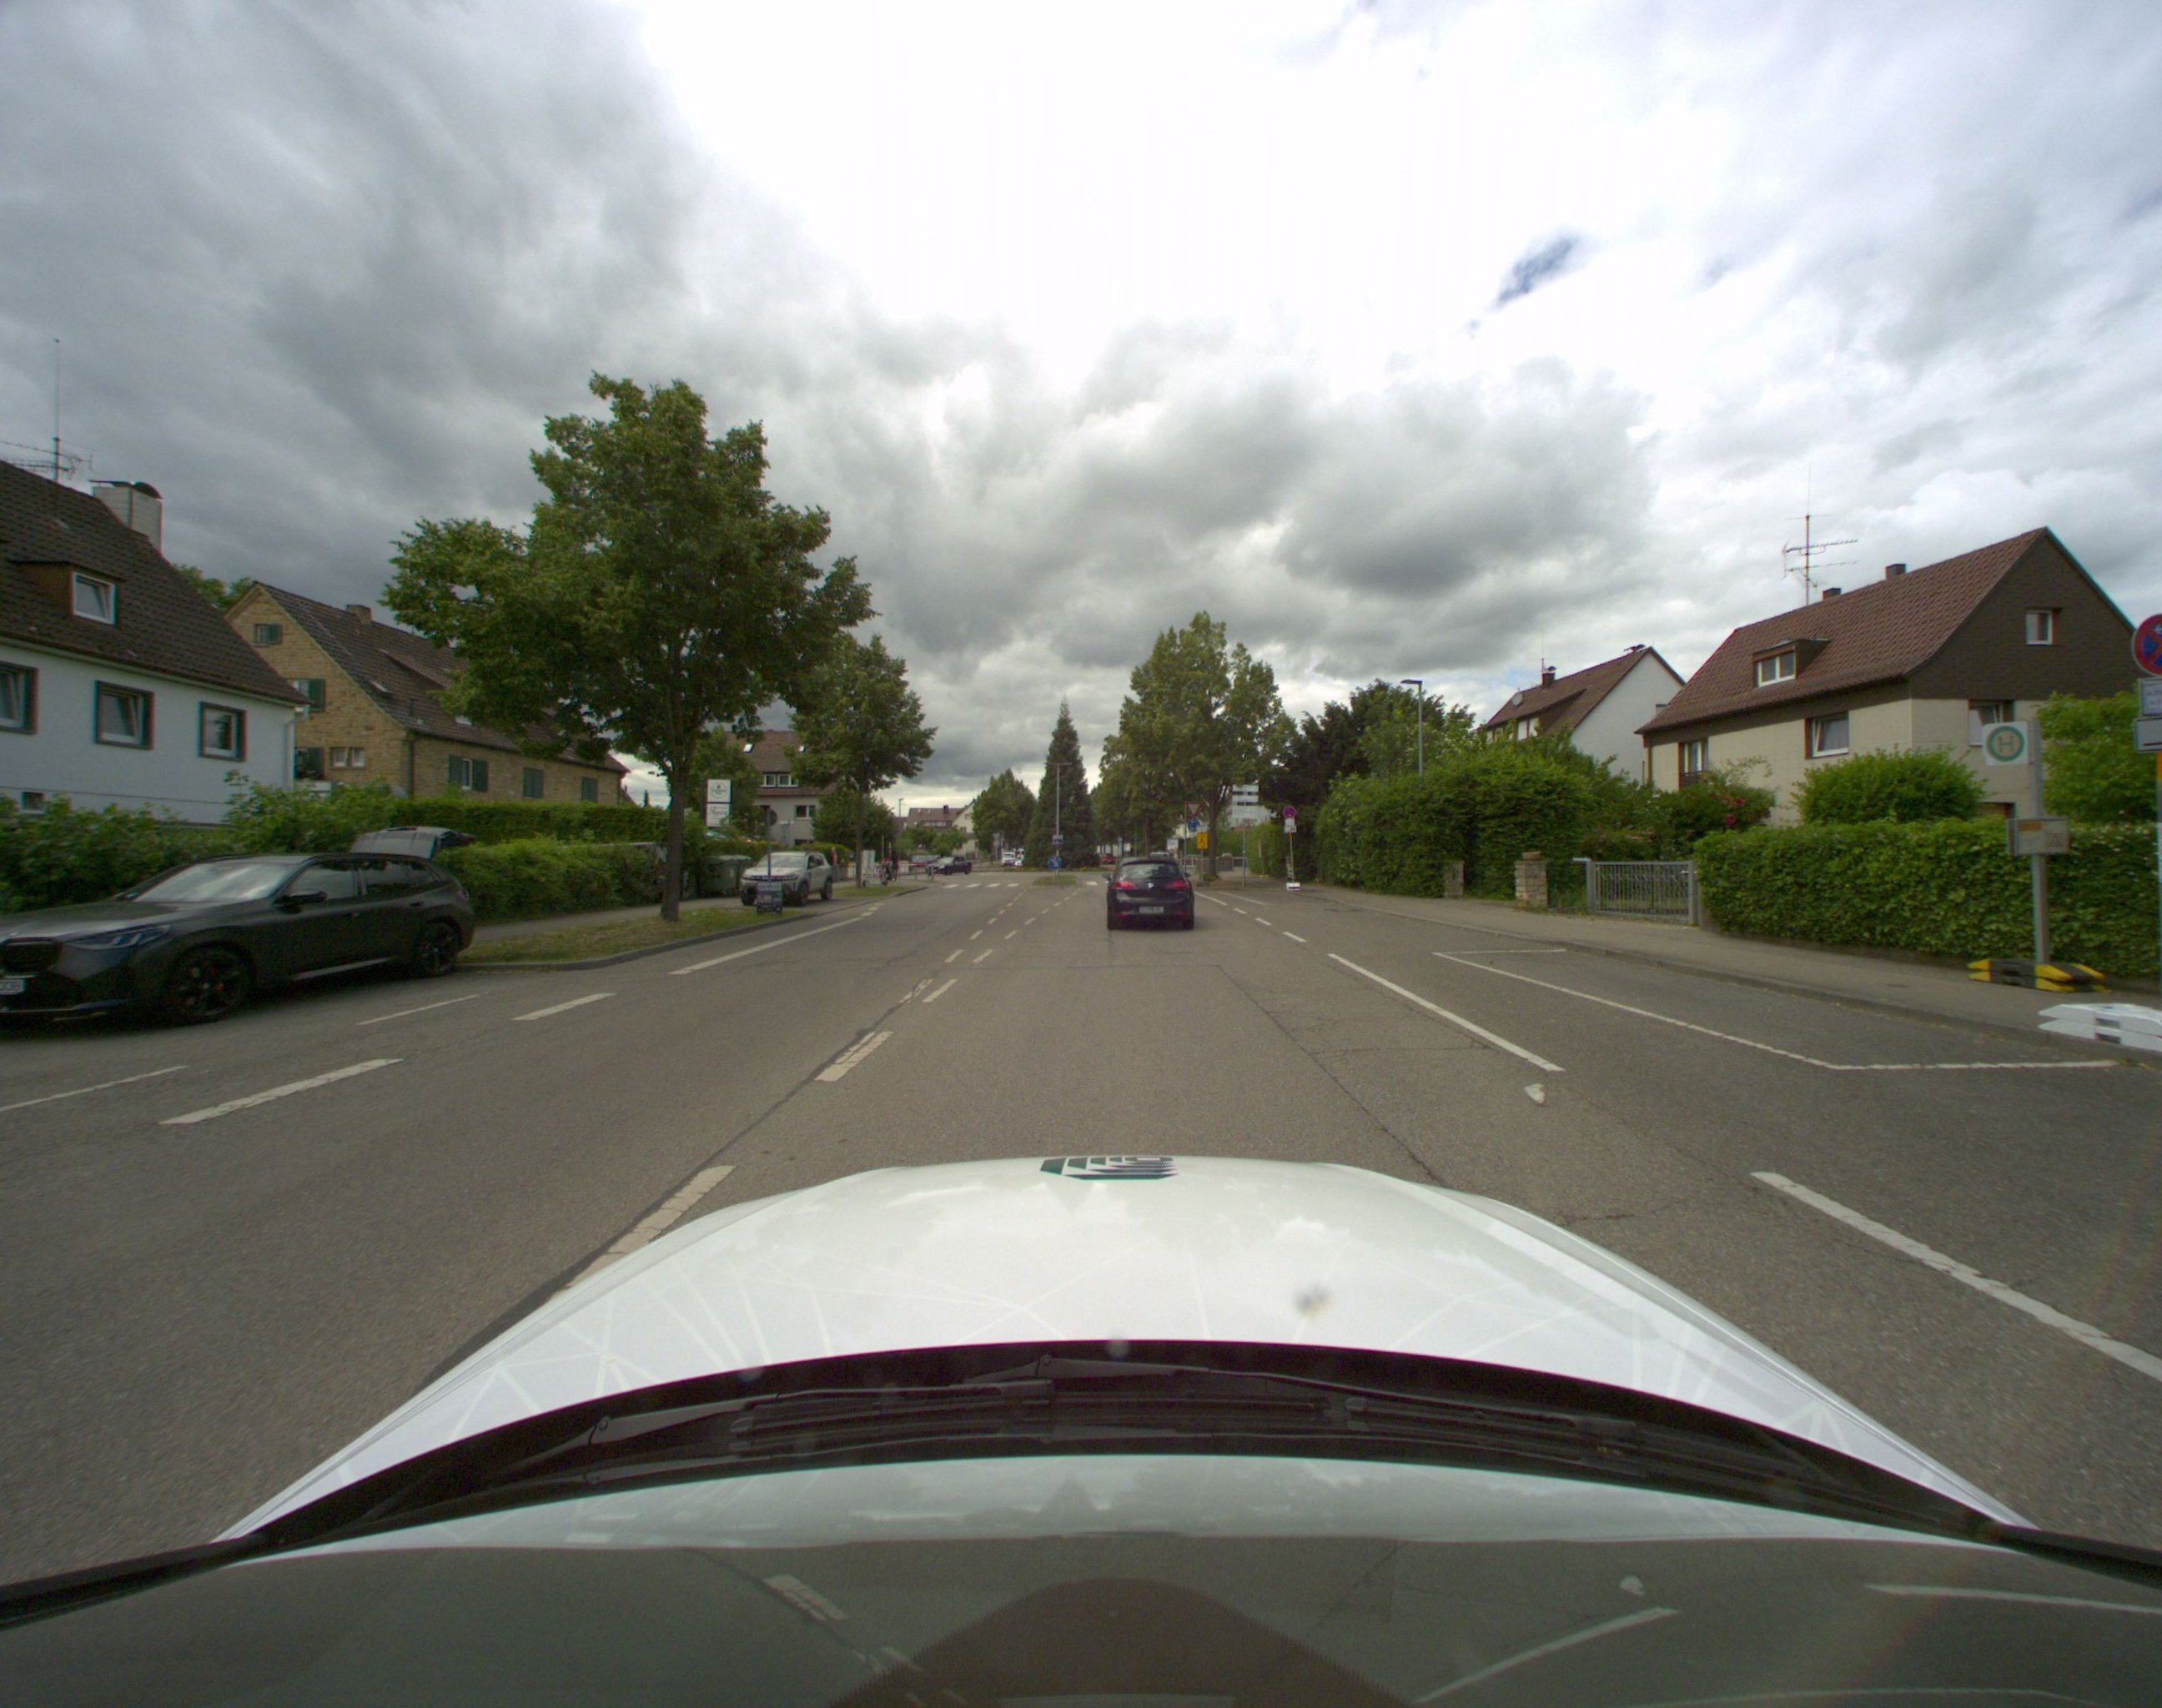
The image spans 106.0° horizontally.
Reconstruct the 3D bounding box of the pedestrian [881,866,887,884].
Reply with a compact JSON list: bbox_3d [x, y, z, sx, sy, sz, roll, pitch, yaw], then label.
[{"bbox_3d":[-10.125,1.069,41.812,0.239,0.894,0.257,1,-1,-30],"label":"pedestrian"}]

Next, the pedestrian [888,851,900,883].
[{"bbox_3d":[-9.935,0.674,43.216,0.485,1.669,0.510,0,0,-33],"label":"pedestrian"}]

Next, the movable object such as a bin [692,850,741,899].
[{"bbox_3d":[-12.652,0.712,28.323,1.202,1.651,0.997,2,-1,-2],"label":"movable object such as a bin"}]

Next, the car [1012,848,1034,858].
[{"bbox_3d":[-12.002,-0.188,168.769,3.954,1.970,2.046,-1,0,19],"label":"car"}]

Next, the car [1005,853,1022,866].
[{"bbox_3d":[-8.580,0.731,103.097,1.792,1.601,3.999,-1,0,0],"label":"car"}]

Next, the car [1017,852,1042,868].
[{"bbox_3d":[-5.168,0.599,82.228,1.860,1.560,4.266,-1,0,6],"label":"car"}]

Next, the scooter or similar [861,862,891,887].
[{"bbox_3d":[-9.598,0.973,38.159,1.292,1.139,0.344,-1,0,-31],"label":"scooter or similar"}]

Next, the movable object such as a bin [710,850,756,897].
[{"bbox_3d":[-12.814,0.715,30.003,1.202,1.651,0.997,2,-1,-2],"label":"movable object such as a bin"}]

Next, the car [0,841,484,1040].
[{"bbox_3d":[-9.348,0.749,9.345,1.719,1.725,4.561,0,0,-2],"label":"car"}]

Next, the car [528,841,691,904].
[{"bbox_3d":[-14.931,0.573,25.953,3.973,1.891,2.000,-1,0,0],"label":"car"}]

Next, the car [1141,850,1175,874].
[{"bbox_3d":[5.212,0.520,55.372,1.986,1.613,4.001,0,0,1],"label":"car"}]

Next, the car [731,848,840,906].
[{"bbox_3d":[-9.184,0.662,25.684,1.855,1.653,4.293,0,0,0],"label":"car"}]

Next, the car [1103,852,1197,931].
[{"bbox_3d":[1.359,0.710,17.395,1.726,1.486,4.001,-1,0,1],"label":"car"}]

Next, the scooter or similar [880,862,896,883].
[{"bbox_3d":[-10.387,0.994,43.811,0.409,1.095,0.959,2,-1,-39],"label":"scooter or similar"}]

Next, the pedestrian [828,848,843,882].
[{"bbox_3d":[-13.001,0.580,43.093,0.565,1.784,0.534,0,0,-39],"label":"pedestrian"}]

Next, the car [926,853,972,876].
[{"bbox_3d":[-9.828,0.736,60.694,1.554,1.634,3.643,-1,0,25],"label":"car"}]

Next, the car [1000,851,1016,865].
[{"bbox_3d":[-10.876,0.556,121.300,2.024,1.970,3.997,-1,0,-2],"label":"car"}]

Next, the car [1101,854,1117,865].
[{"bbox_3d":[3.605,0.700,104.601,1.474,1.489,3.371,-1,0,-9],"label":"car"}]
